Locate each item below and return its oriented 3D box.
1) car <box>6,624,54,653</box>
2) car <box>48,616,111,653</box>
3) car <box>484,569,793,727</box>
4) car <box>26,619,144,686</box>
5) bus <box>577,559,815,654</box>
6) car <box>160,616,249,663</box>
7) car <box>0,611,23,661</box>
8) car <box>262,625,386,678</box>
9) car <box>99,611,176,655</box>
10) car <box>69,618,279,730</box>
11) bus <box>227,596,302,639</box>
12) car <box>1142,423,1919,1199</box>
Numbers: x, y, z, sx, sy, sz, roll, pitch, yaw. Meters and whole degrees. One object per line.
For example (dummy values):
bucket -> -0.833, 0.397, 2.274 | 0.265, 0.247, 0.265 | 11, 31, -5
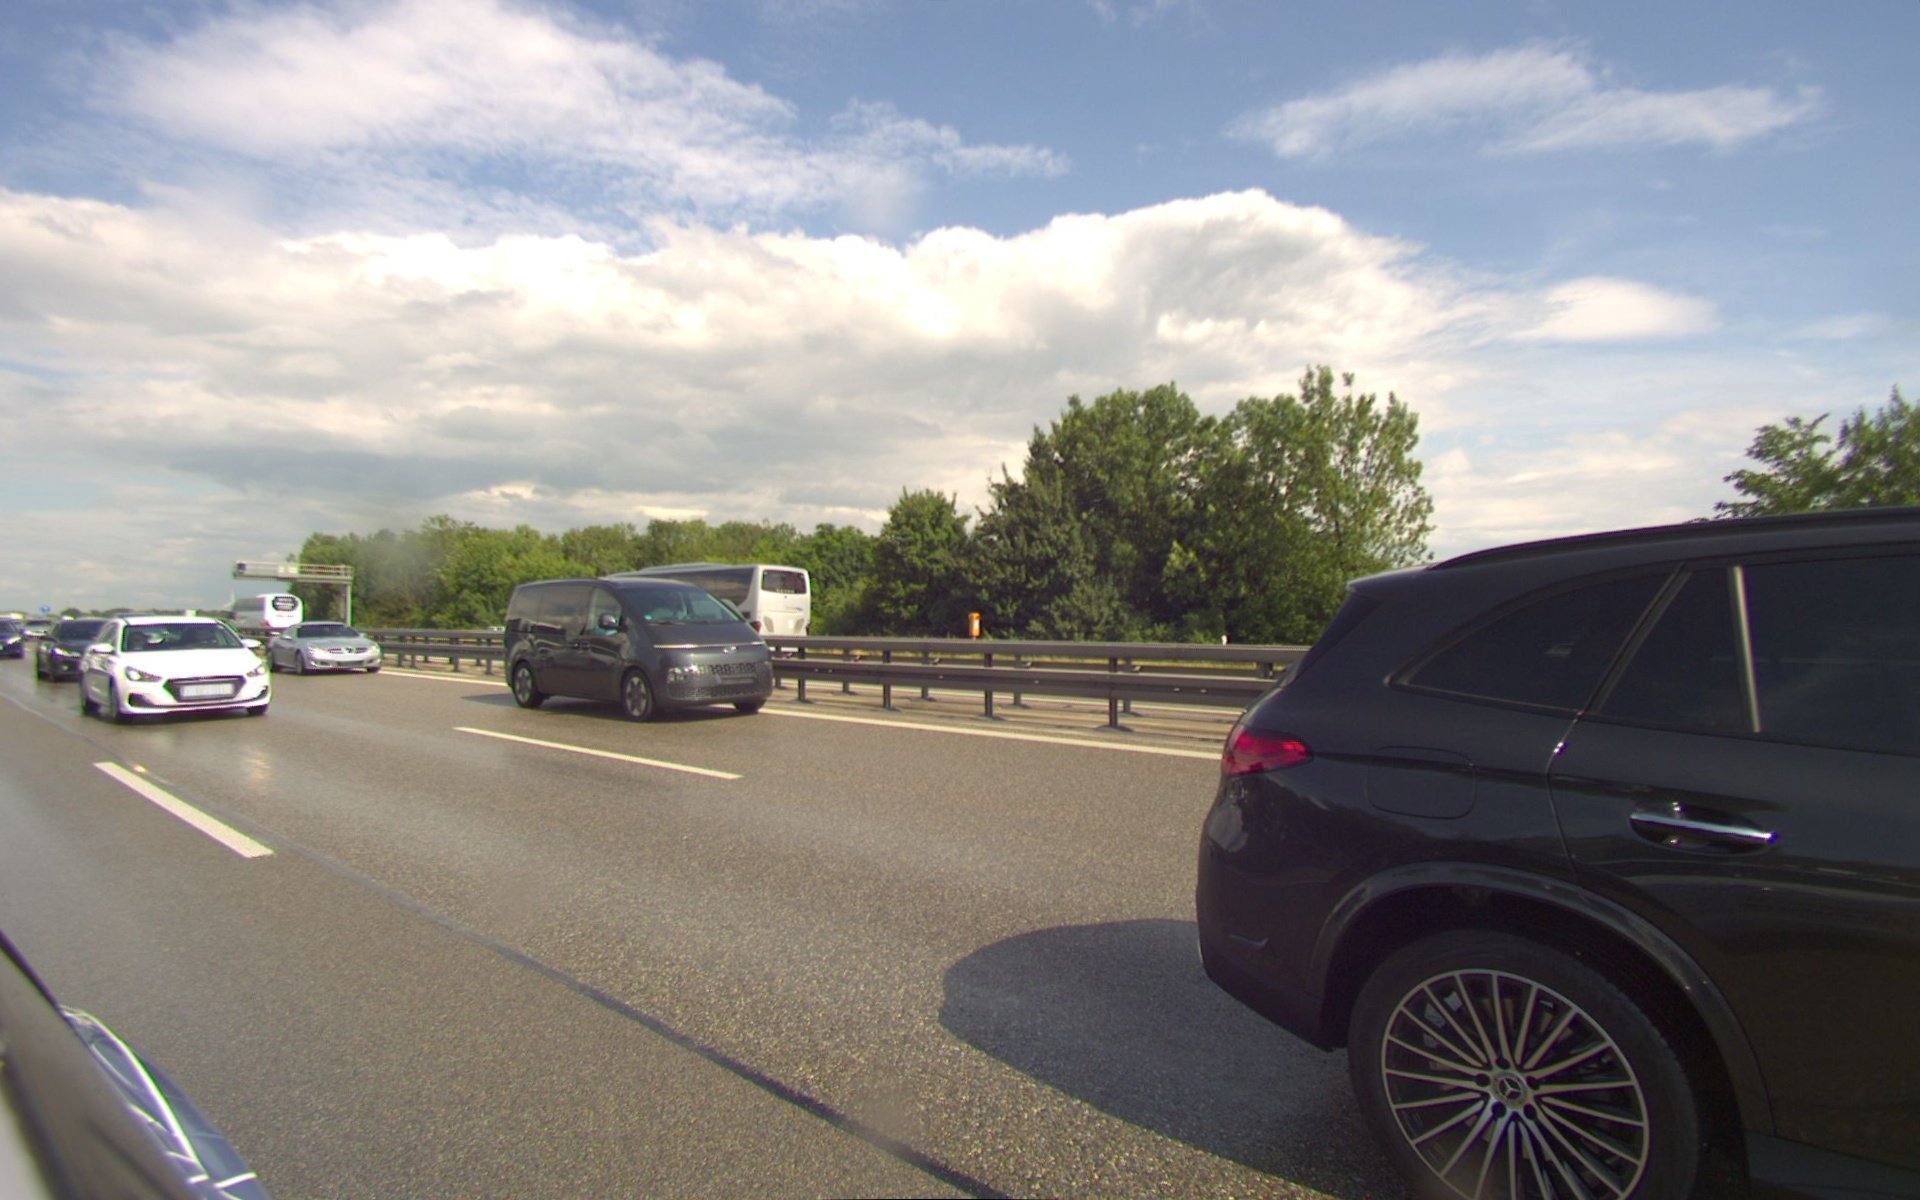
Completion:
car -> -59.454, 2.429, 64.678 | 3.998, 1.763, 1.876 | -1, -1, 41
car -> -44.328, 1.695, 50.951 | 3.998, 1.763, 1.876 | -1, -1, 41
car -> -4.888, 0.635, 14.899 | 5.234, 1.932, 1.972 | -1, -1, 42
car -> -20.246, 1.152, 23.360 | 3.999, 1.409, 1.576 | -1, -1, 42
bus -> -10.841, 0.326, 40.209 | 12.208, 3.311, 2.908 | -1, -1, 42
car -> -24.548, 1.247, 32.855 | 3.999, 1.431, 1.597 | -1, -1, 42
car -> -34.638, 1.262, 35.727 | 3.998, 1.730, 1.865 | -1, -1, 41
car -> -15.907, 1.241, 25.247 | 3.584, 1.198, 1.831 | -1, -1, 44
car -> -34.375, 1.348, 42.270 | 3.998, 1.763, 1.876 | -1, -1, 41
car -> -11.615, 0.982, 14.854 | 4.240, 1.408, 1.785 | -1, -2, 43
bus -> -58.844, 1.520, 85.441 | 12.474, 3.399, 2.859 | -1, -1, 44
car -> 2.853, 0.526, 1.984 | 4.624, 1.692, 1.857 | -1, -1, 41
